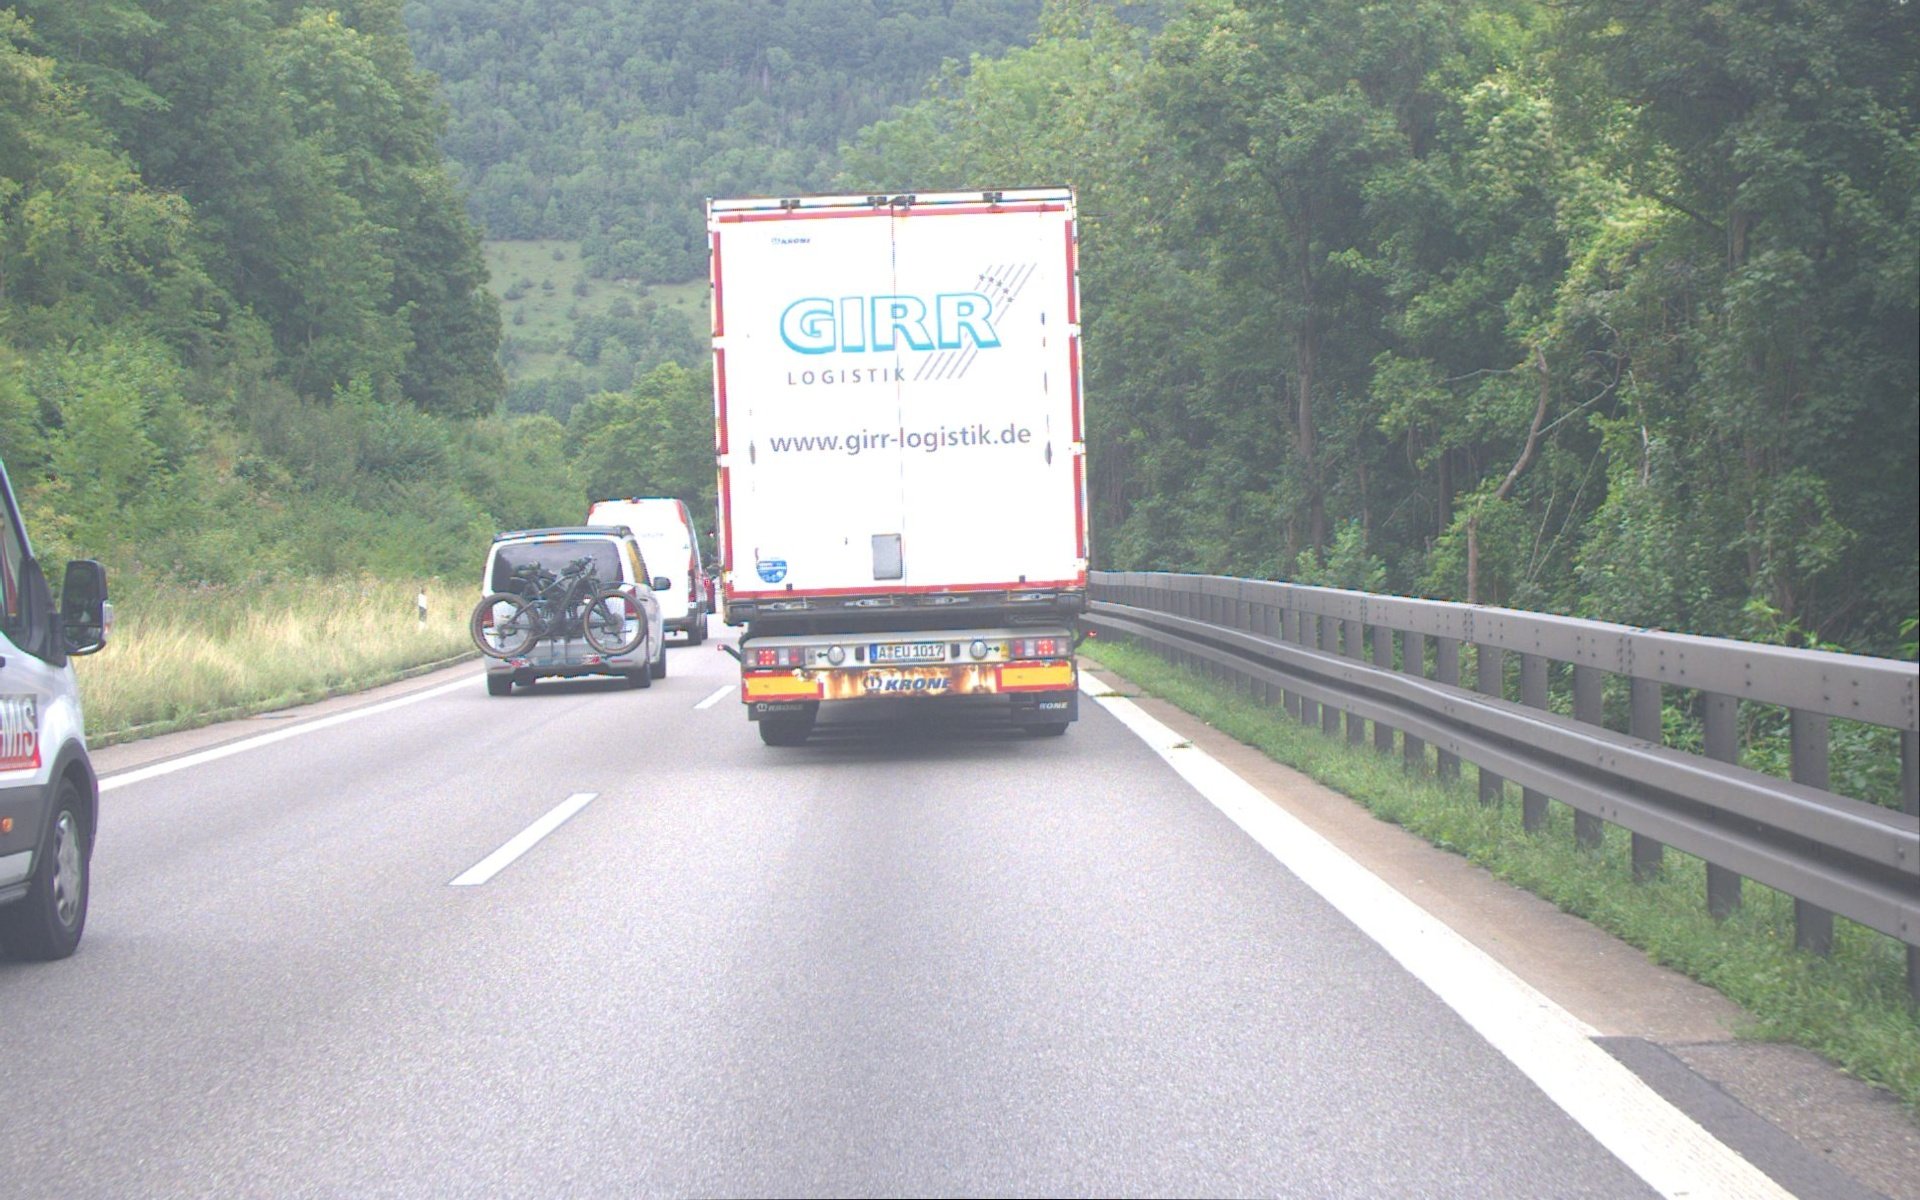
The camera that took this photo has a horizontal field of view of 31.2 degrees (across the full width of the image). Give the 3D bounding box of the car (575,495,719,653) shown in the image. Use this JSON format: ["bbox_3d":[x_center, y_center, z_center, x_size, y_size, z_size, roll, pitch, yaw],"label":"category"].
[{"bbox_3d":[-5.534,-0.488,61.448,2.123,2.589,5.564,-3,1,-2],"label":"car"}]

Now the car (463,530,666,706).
[{"bbox_3d":[-4.662,0.154,41.236,2.018,1.908,5.564,-2,1,-3],"label":"car"}]

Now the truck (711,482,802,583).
[{"bbox_3d":[-8.262,-2.664,138.645,3.068,3.864,8.460,-2,0,-7],"label":"truck"}]

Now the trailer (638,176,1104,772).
[{"bbox_3d":[-0.627,-0.933,28.068,3.133,4.029,9.440,0,1,0],"label":"trailer"}]

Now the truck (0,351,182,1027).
[{"bbox_3d":[-4.391,0.331,10.961,2.349,2.266,6.850,-2,1,-1],"label":"truck"}]
